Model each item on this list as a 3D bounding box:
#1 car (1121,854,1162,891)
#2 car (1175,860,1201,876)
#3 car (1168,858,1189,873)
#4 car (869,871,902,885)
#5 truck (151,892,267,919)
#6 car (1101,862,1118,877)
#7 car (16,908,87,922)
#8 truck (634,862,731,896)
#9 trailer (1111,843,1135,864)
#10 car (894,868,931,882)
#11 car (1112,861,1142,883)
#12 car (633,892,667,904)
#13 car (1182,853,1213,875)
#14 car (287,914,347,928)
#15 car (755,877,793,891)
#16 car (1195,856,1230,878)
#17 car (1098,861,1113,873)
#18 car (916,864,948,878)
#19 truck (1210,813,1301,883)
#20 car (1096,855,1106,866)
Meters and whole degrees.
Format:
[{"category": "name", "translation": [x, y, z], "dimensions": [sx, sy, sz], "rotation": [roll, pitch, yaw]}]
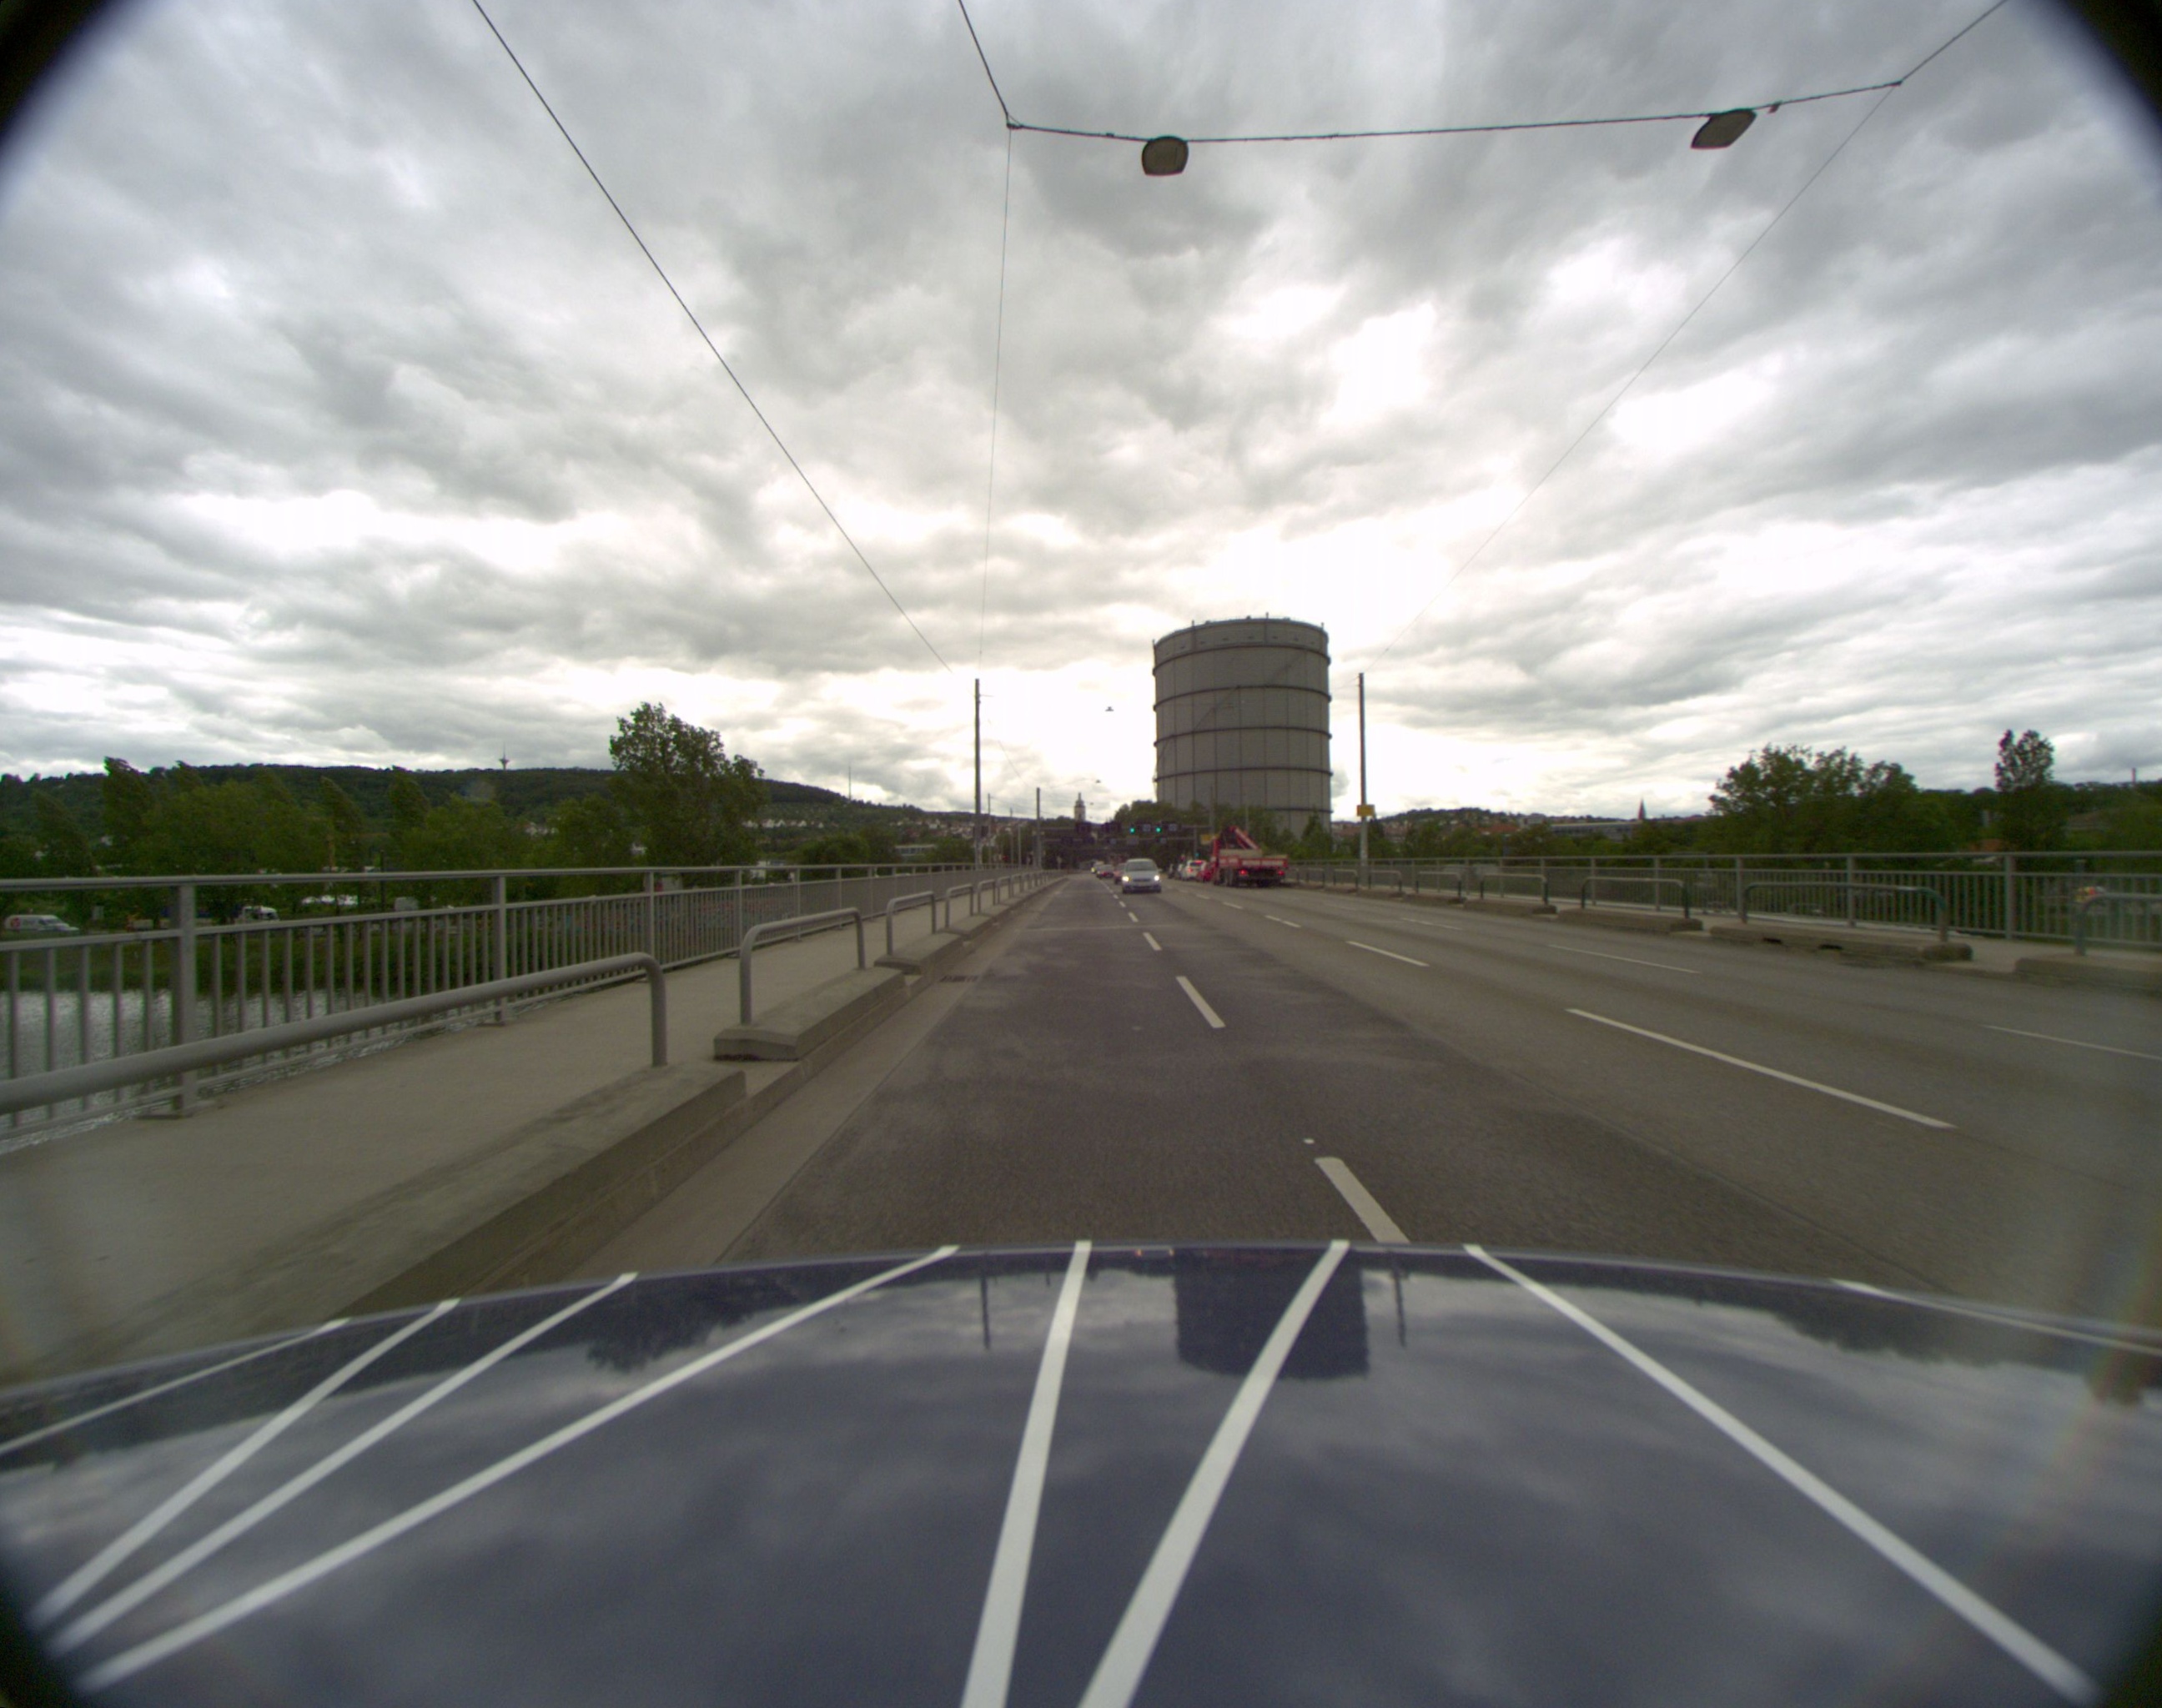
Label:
[{"category": "car", "translation": [2.788, 0.860, 35.647], "dimensions": [1.746, 1.594, 3.684], "rotation": [-2, -1, 3]}, {"category": "car", "translation": [9.926, 1.301, 71.048], "dimensions": [1.840, 1.495, 4.517], "rotation": [0, -1, 0]}, {"category": "car", "translation": [10.175, 1.209, 79.600], "dimensions": [1.840, 1.495, 3.872], "rotation": [0, -1, 2]}, {"category": "car", "translation": [-24.763, 3.072, 96.388], "dimensions": [3.757, 1.531, 1.695], "rotation": [-3, 0, -1]}, {"category": "truck", "translation": [-139.425, 8.221, 121.630], "dimensions": [14.417, 3.893, 3.382], "rotation": [2, -1, 0]}, {"category": "car", "translation": [2.983, 1.607, 79.419], "dimensions": [1.696, 1.411, 4.469], "rotation": [-1, -1, 1]}, {"category": "car", "translation": [-148.800, 8.833, 109.864], "dimensions": [6.010, 1.531, 2.700], "rotation": [-3, 0, -4]}, {"category": "truck", "translation": [-50.340, 3.105, 96.220], "dimensions": [10.423, 3.856, 3.226], "rotation": [-2, 0, -3]}, {"category": "trailer", "translation": [8.963, 0.000, 164.047], "dimensions": [3.669, 4.295, 13.780], "rotation": [2, -1, -2]}, {"category": "car", "translation": [-22.232, 2.724, 100.066], "dimensions": [4.339, 1.610, 2.000], "rotation": [-3, 1, 0]}, {"category": "car", "translation": [3.211, 1.257, 53.213], "dimensions": [1.747, 1.454, 3.955], "rotation": [0, -1, -2]}, {"category": "car", "translation": [-69.867, 7.148, 123.242], "dimensions": [4.022, 1.531, 2.285], "rotation": [-3, 0, 0]}, {"category": "car", "translation": [9.577, 0.862, 62.935], "dimensions": [1.884, 1.750, 4.803], "rotation": [0, -1, 0]}, {"category": "car", "translation": [-116.317, 10.165, 115.734], "dimensions": [6.010, 1.531, 2.700], "rotation": [-3, 0, -4]}, {"category": "car", "translation": [-38.922, 3.805, 96.289], "dimensions": [4.045, 1.531, 1.695], "rotation": [-3, 0, -1]}, {"category": "car", "translation": [9.641, 0.949, 55.822], "dimensions": [1.884, 1.593, 4.016], "rotation": [0, -1, 0]}, {"category": "car", "translation": [3.069, 1.643, 95.817], "dimensions": [1.696, 1.411, 4.468], "rotation": [1, -1, 1]}, {"category": "car", "translation": [-18.930, 2.132, 96.714], "dimensions": [3.621, 1.531, 1.695], "rotation": [-3, 0, -1]}, {"category": "truck", "translation": [9.742, -0.265, 43.676], "dimensions": [3.013, 3.544, 9.983], "rotation": [0, -1, 0]}, {"category": "car", "translation": [4.593, 1.500, 176.127], "dimensions": [2.331, 2.509, 4.949], "rotation": [1, 0, 1]}]
